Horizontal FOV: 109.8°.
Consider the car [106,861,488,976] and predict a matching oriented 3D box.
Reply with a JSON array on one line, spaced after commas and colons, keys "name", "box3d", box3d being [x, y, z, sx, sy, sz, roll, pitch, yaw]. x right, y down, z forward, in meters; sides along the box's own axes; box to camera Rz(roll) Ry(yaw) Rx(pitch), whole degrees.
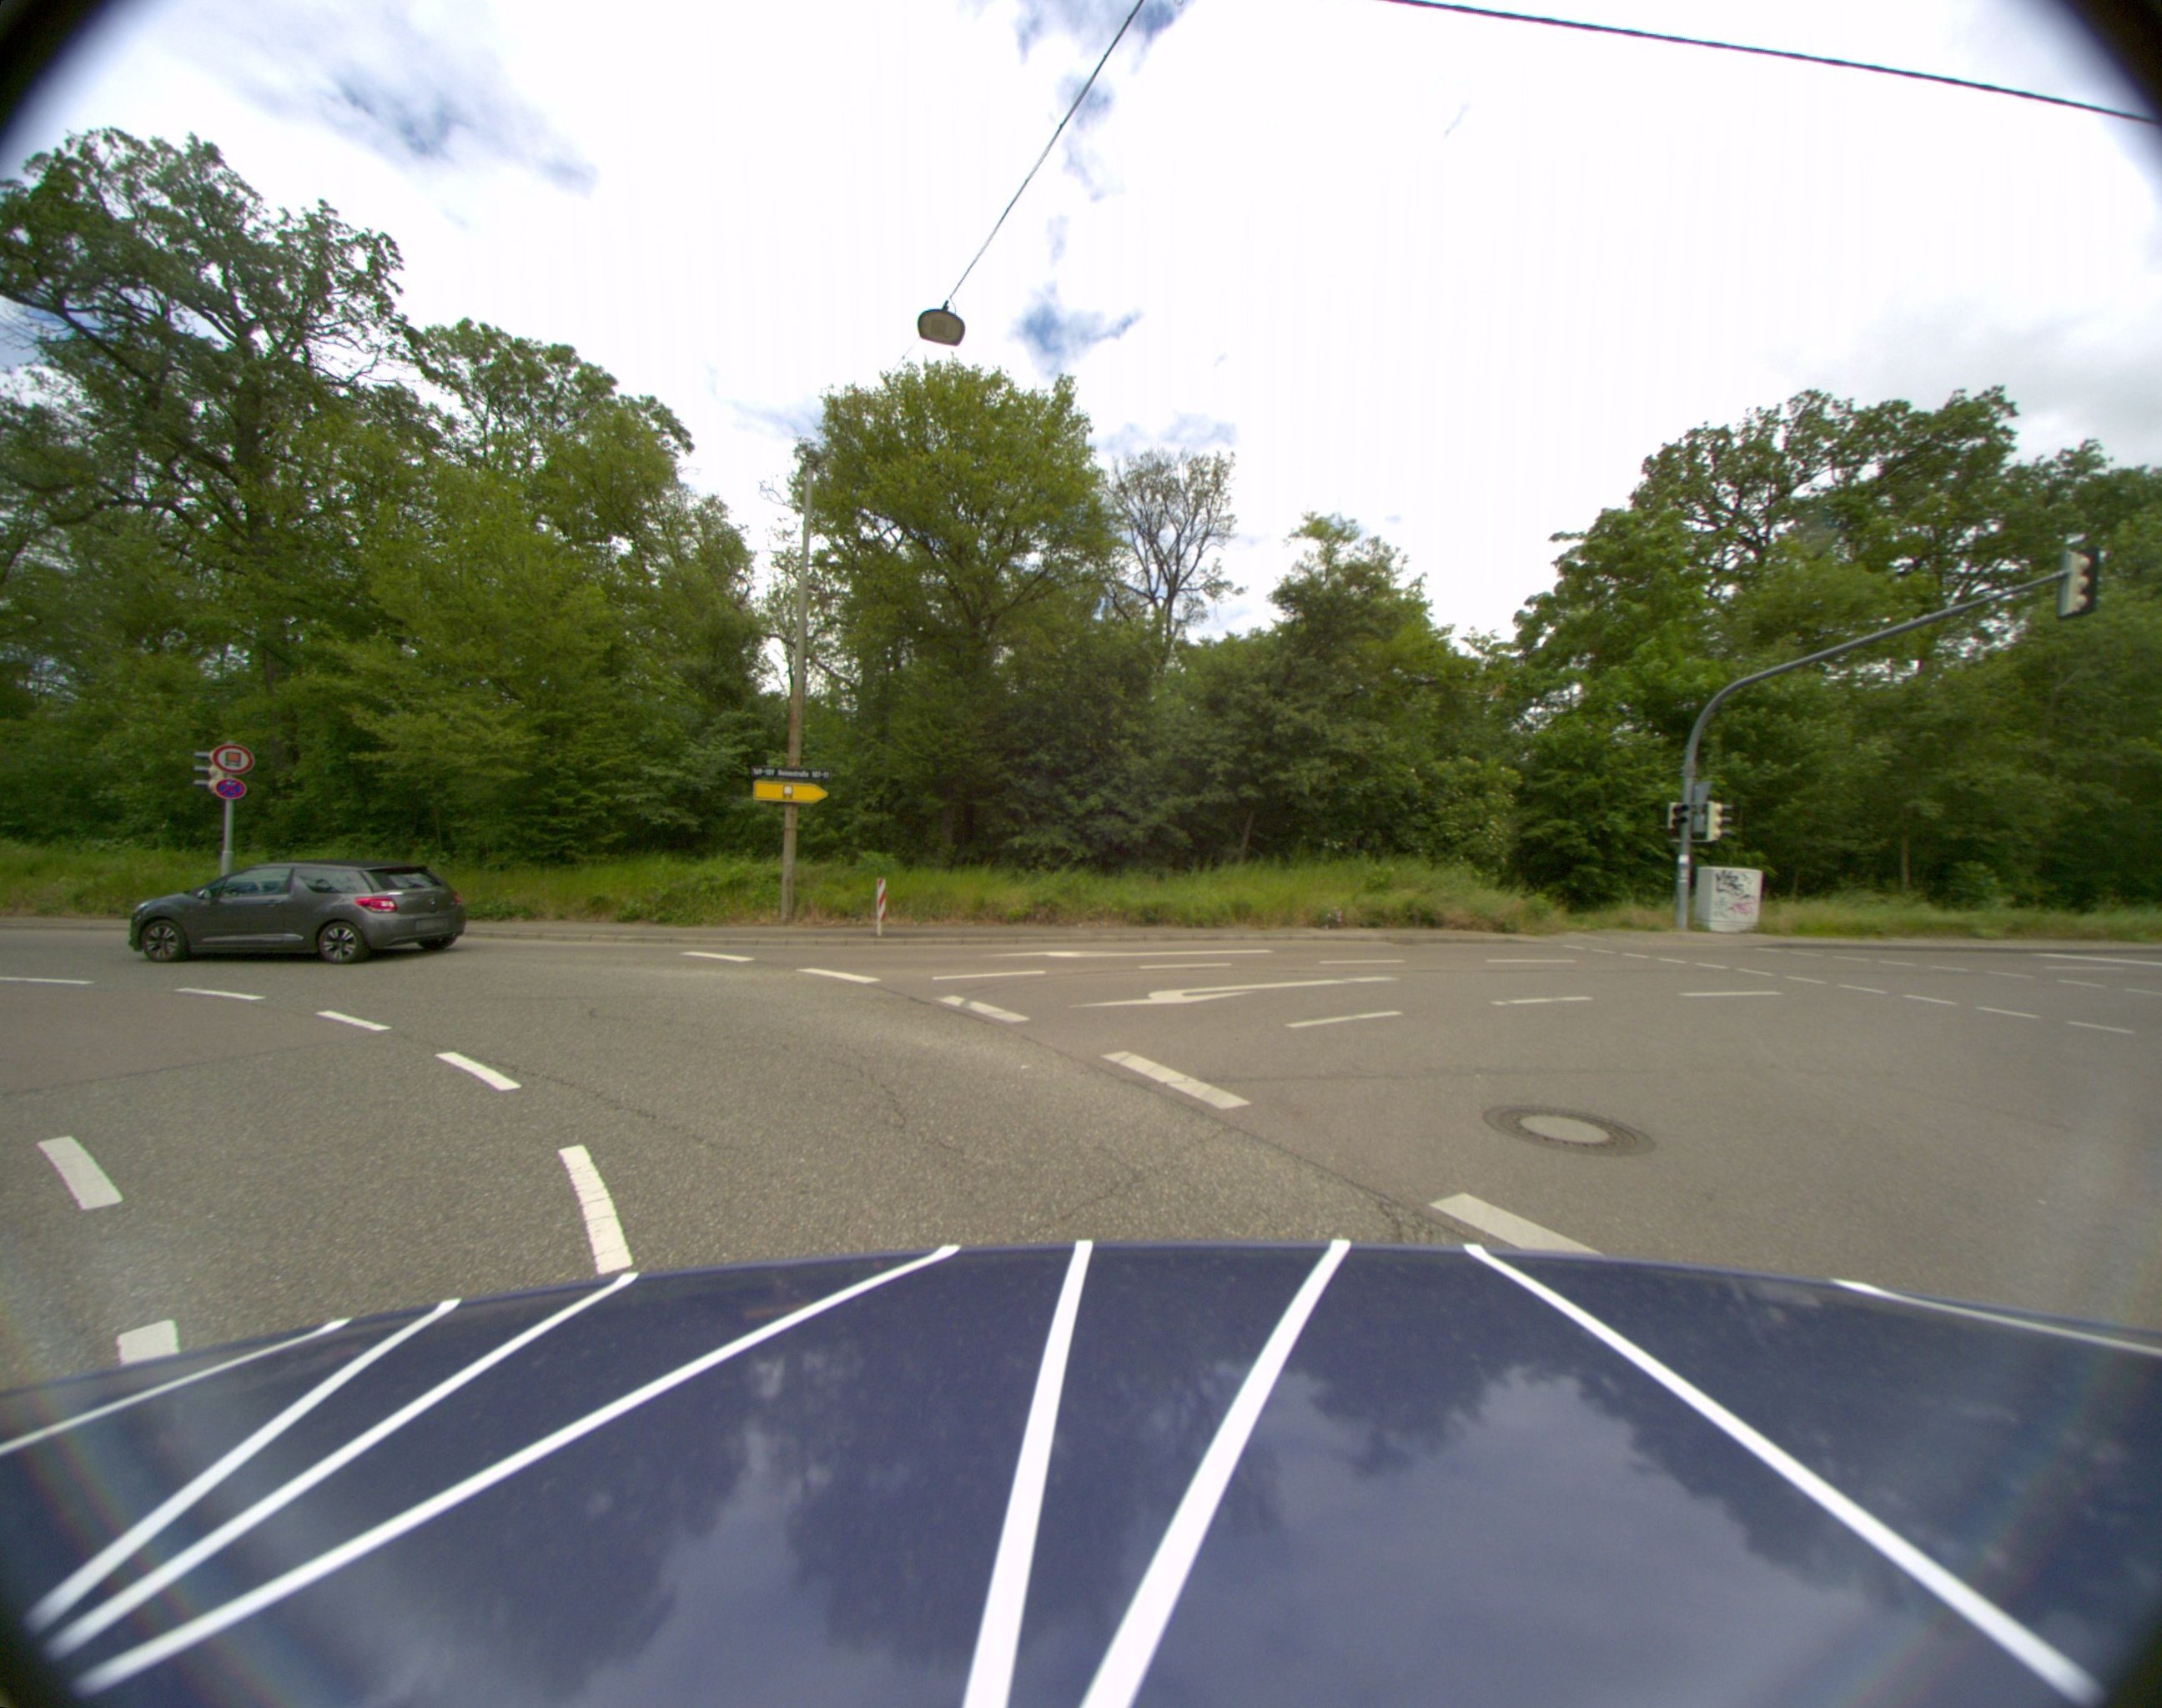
[{"name": "car", "box3d": [-11.580, 0.910, 11.455, 3.805, 1.502, 1.823, 1, 1, -1]}]
